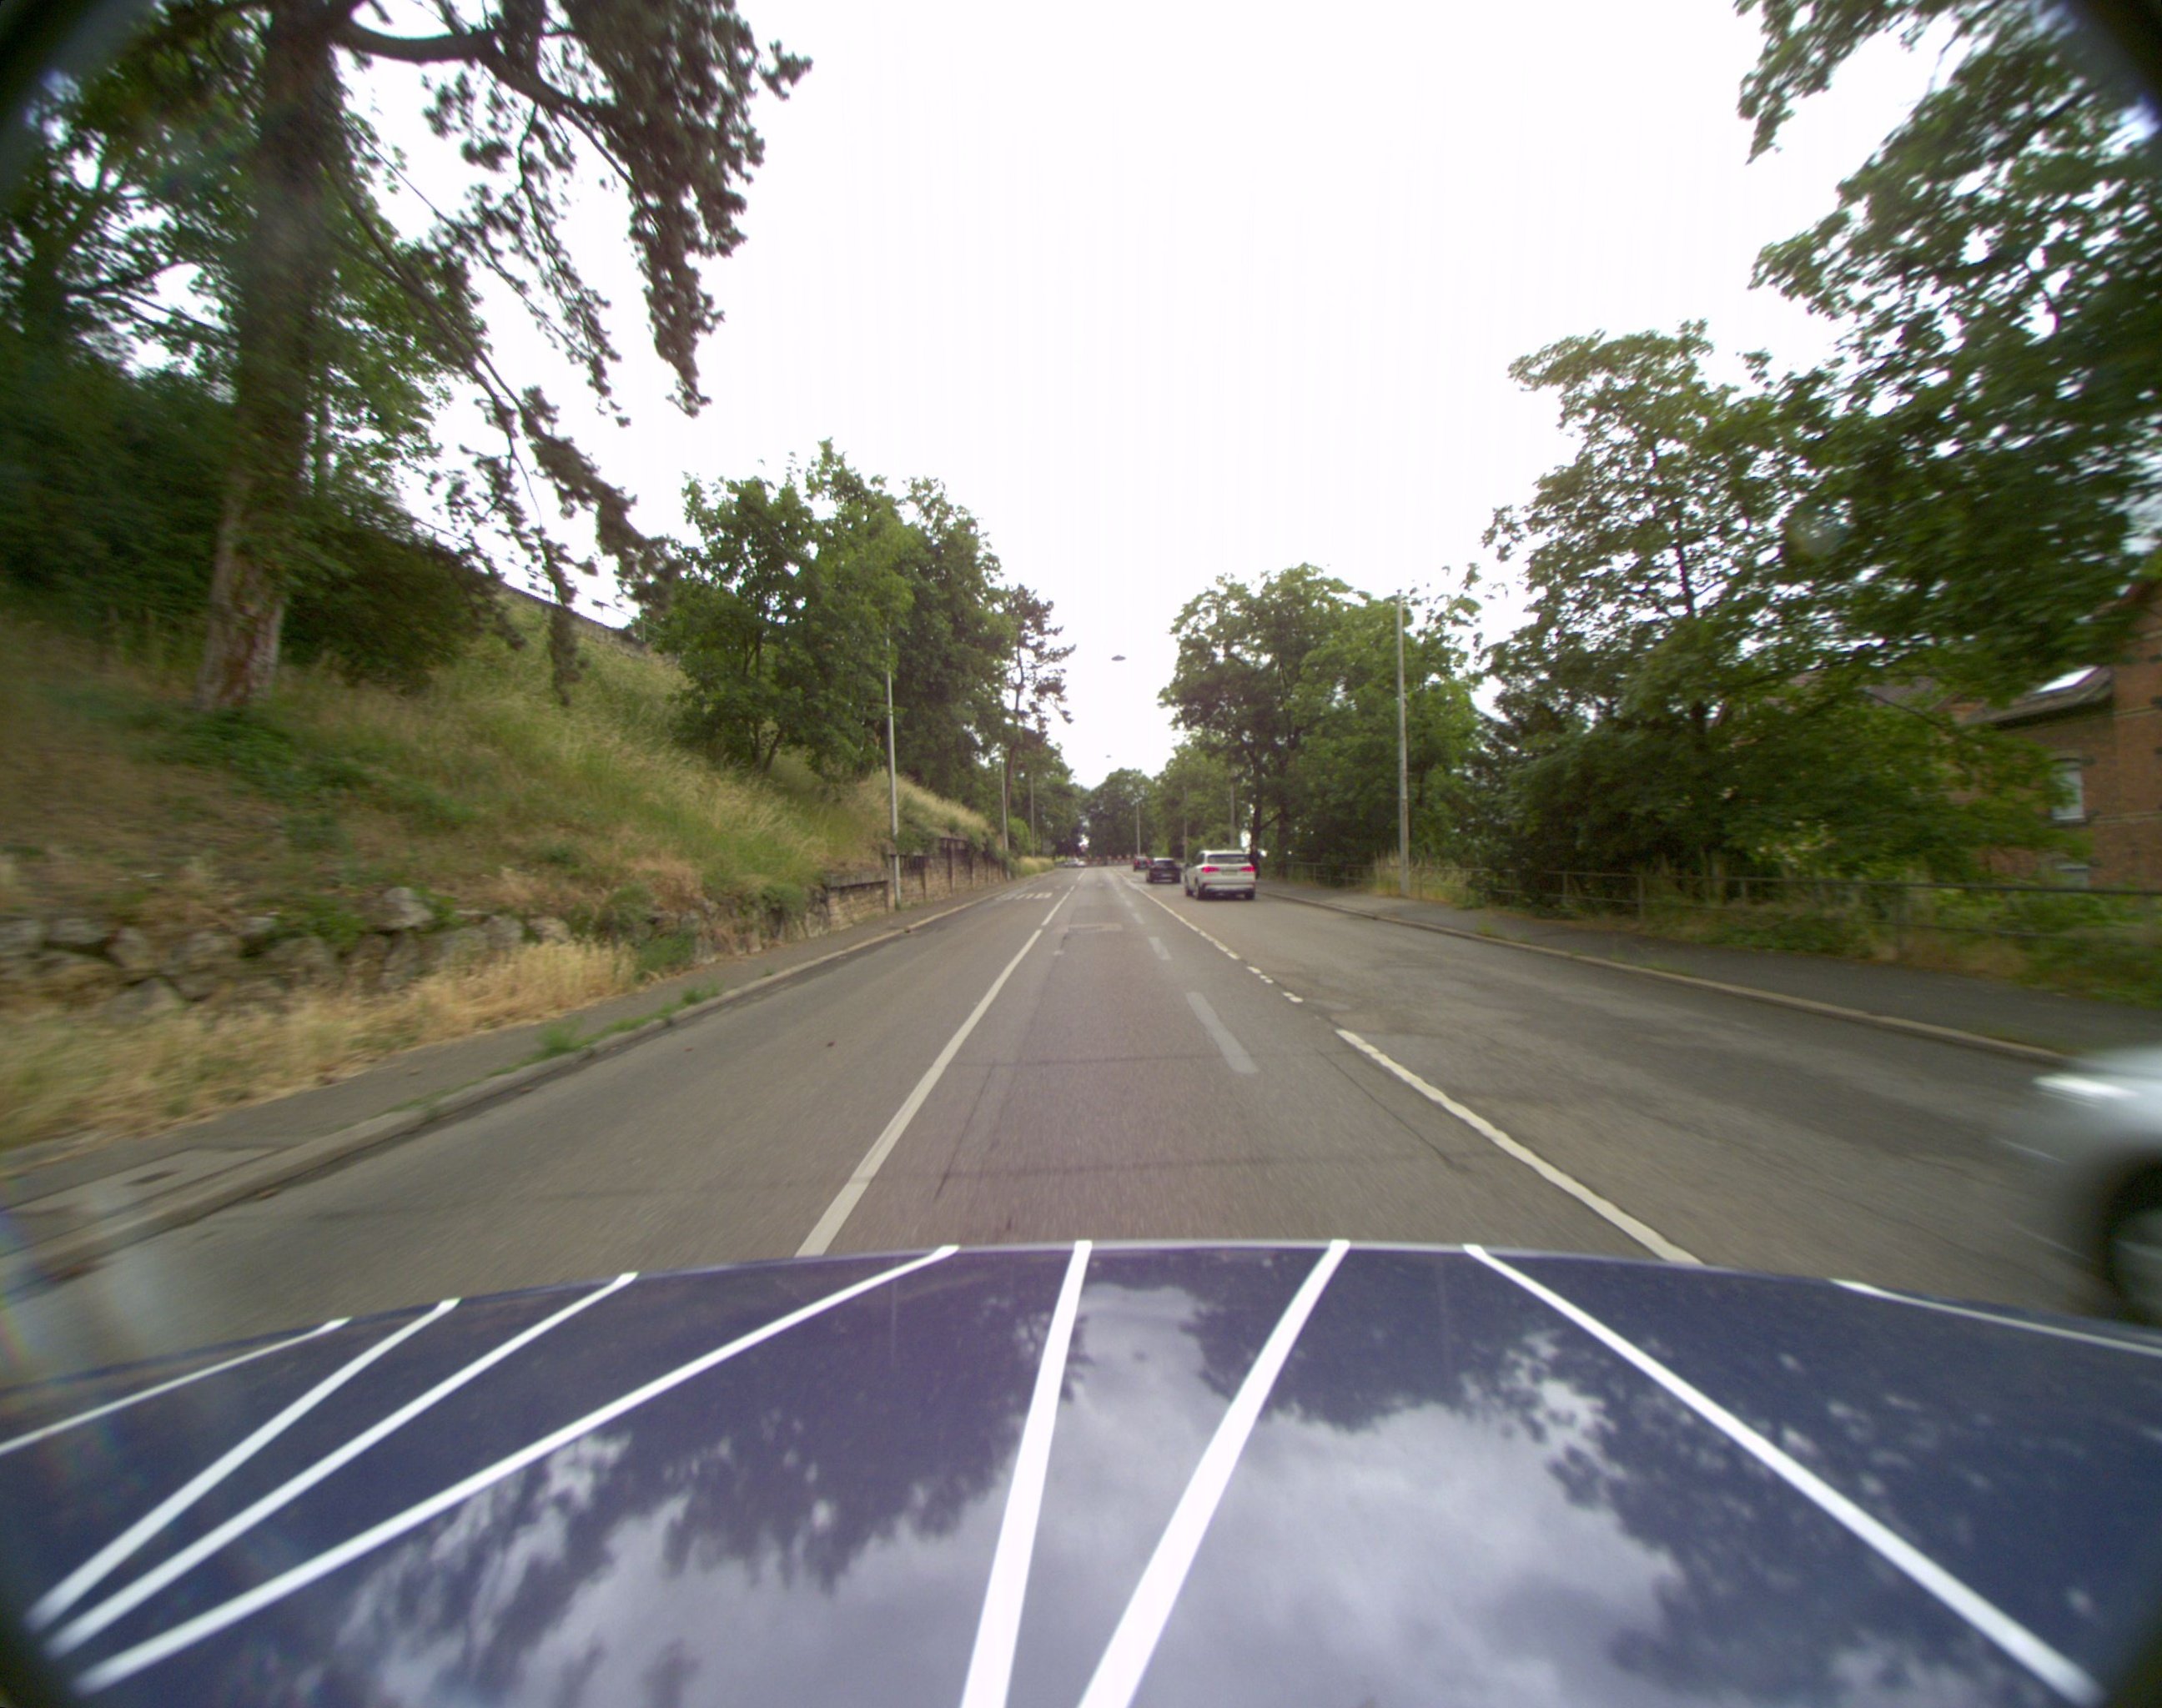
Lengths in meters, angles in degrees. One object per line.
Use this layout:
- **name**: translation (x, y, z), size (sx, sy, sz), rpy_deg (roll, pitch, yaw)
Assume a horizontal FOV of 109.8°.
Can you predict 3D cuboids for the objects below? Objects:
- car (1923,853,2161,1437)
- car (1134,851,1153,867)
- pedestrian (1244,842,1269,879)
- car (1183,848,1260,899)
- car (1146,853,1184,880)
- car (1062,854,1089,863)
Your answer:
- **car**: translation (3.795, 0.795, 0.481), size (1.788, 1.565, 4.280), rpy_deg (-1, 0, 0)
- **car**: translation (6.138, 0.472, 75.065), size (1.673, 1.439, 3.688), rpy_deg (-1, 0, 1)
- **pedestrian**: translation (8.569, 0.315, 37.190), size (0.790, 1.764, 1.209), rpy_deg (-5, 0, -2)
- **car**: translation (4.979, 0.632, 27.528), size (2.000, 1.673, 4.663), rpy_deg (-1, 0, 1)
- **car**: translation (4.797, 0.697, 43.664), size (1.717, 1.419, 4.138), rpy_deg (-1, 0, 0)
- **car**: translation (-0.884, 0.742, 125.123), size (4.132, 1.419, 1.804), rpy_deg (-2, 0, 40)
